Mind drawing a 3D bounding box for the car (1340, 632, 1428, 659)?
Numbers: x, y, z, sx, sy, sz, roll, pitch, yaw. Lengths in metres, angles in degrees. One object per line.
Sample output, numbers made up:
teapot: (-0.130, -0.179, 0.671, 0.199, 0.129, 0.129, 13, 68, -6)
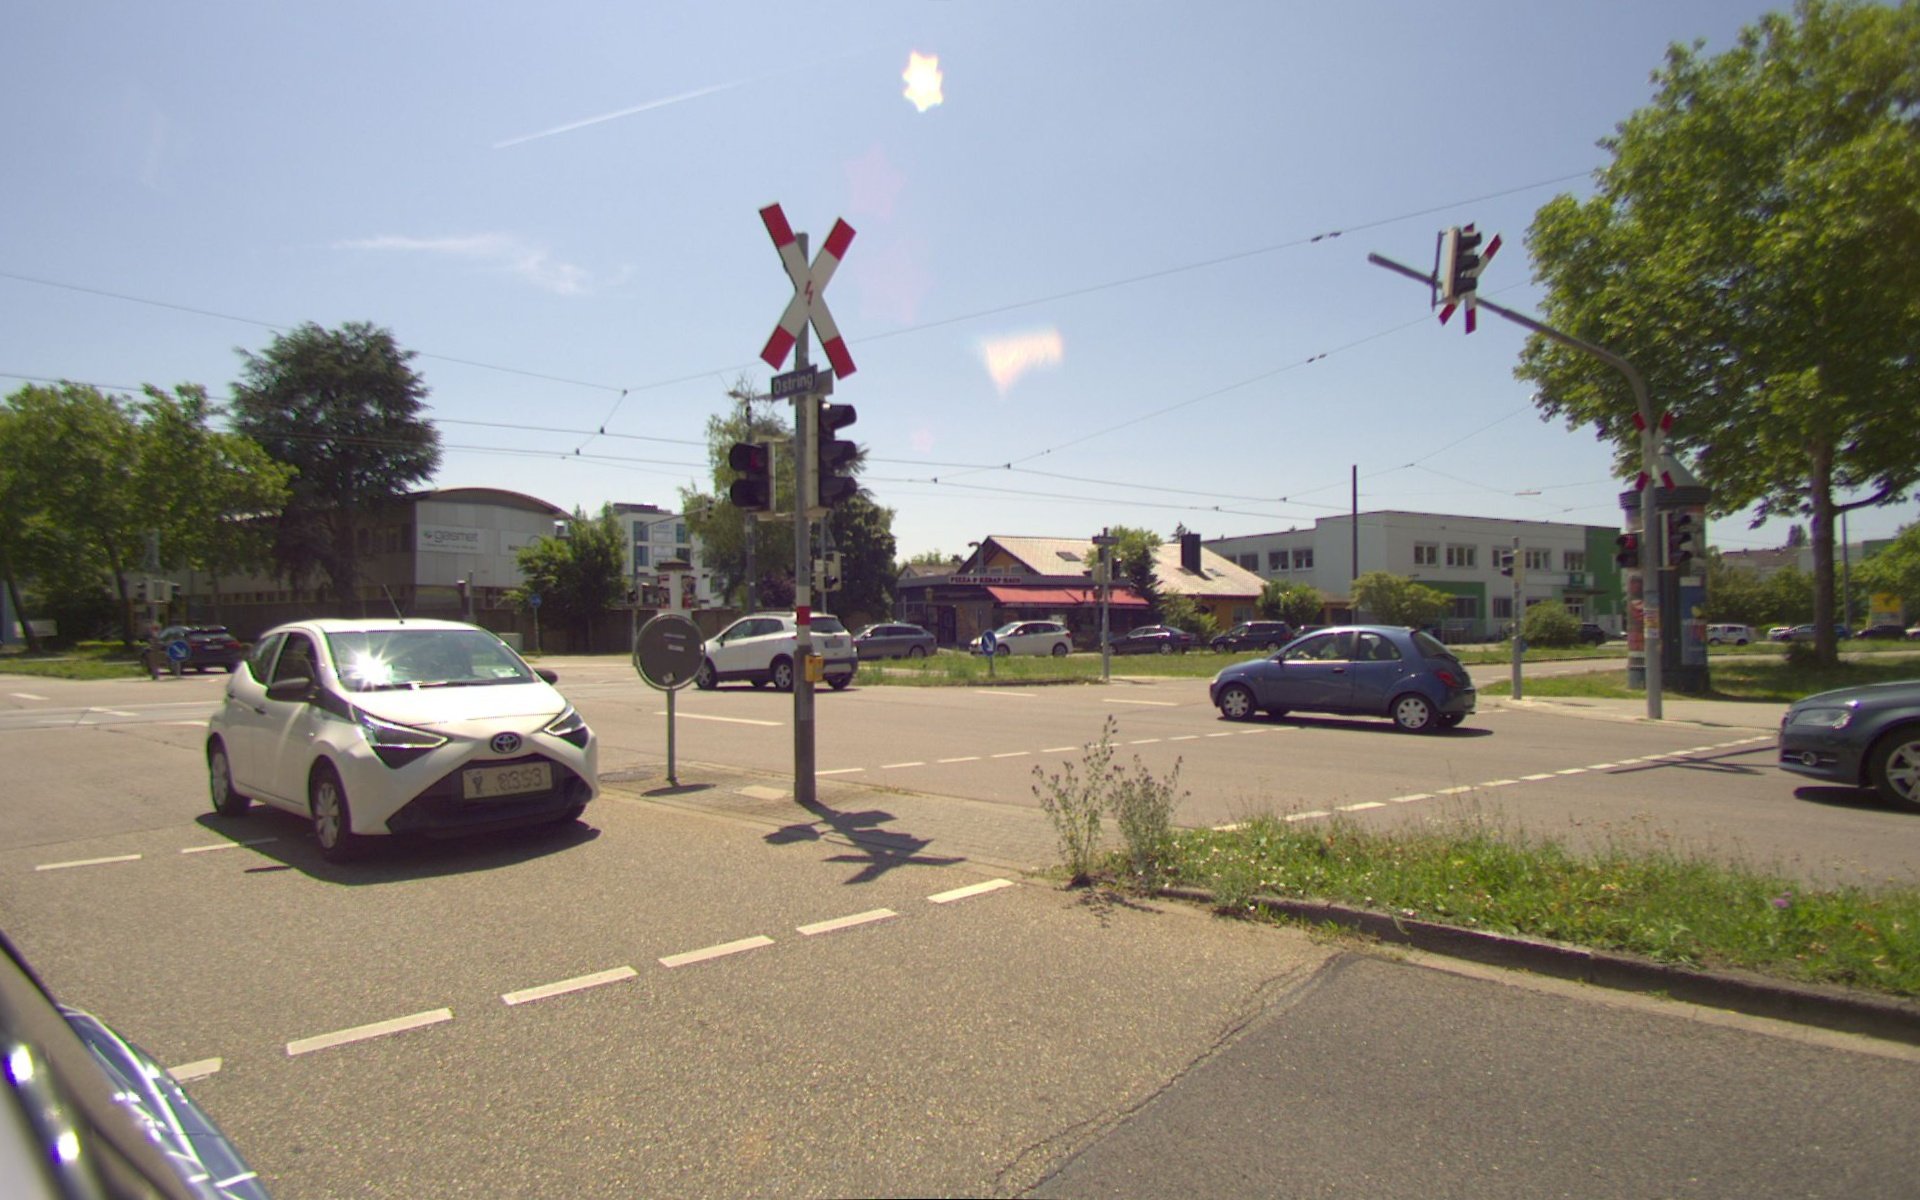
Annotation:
car: (23.143, 2.467, 55.311, 4.055, 1.434, 1.922, -2, -2, 38)

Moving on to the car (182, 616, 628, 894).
car: (-4.117, 0.891, 7.282, 3.649, 1.456, 1.602, -2, 0, 40)

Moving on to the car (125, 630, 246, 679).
car: (-26.159, 1.816, 34.160, 4.285, 1.550, 1.894, -1, -2, 33)

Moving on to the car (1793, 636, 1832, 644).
car: (65.718, 3.082, 78.037, 2.287, 0.648, 0.766, -2, -2, 38)

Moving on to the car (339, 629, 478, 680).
car: (-17.221, 1.647, 31.531, 4.736, 1.451, 1.932, -2, -2, 36)

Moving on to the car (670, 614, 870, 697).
car: (-4.176, 1.159, 21.885, 4.396, 1.627, 1.771, -2, -2, 37)

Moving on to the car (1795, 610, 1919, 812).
car: (8.308, 0.781, 6.763, 4.175, 1.406, 1.718, -1, -4, 41)

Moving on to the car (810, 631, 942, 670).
car: (-3.162, 1.875, 38.284, 4.590, 1.391, 1.894, 1, -2, -28)

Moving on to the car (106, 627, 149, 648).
car: (-69.713, 3.130, 84.754, 3.517, 1.660, 1.801, -1, 0, 33)

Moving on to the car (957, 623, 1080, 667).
car: (2.349, 1.777, 40.701, 4.384, 1.617, 2.224, 0, -2, -26)

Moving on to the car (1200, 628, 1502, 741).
car: (5.411, 1.094, 14.238, 3.553, 1.372, 1.785, -2, -2, 44)

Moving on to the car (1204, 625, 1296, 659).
car: (14.798, 2.125, 51.766, 4.183, 1.663, 1.763, -2, -2, 34)

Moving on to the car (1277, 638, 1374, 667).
car: (18.868, 2.713, 52.295, 4.377, 1.422, 1.856, -2, -2, 34)

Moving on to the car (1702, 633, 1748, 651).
car: (53.784, 2.962, 71.174, 2.446, 1.214, 1.109, -1, -1, 31)

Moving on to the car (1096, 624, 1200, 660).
car: (8.893, 2.004, 48.100, 4.557, 1.663, 1.763, -2, -3, 34)

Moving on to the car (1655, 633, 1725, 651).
car: (50.996, 2.921, 70.694, 3.889, 1.215, 1.344, -2, -2, 38)
